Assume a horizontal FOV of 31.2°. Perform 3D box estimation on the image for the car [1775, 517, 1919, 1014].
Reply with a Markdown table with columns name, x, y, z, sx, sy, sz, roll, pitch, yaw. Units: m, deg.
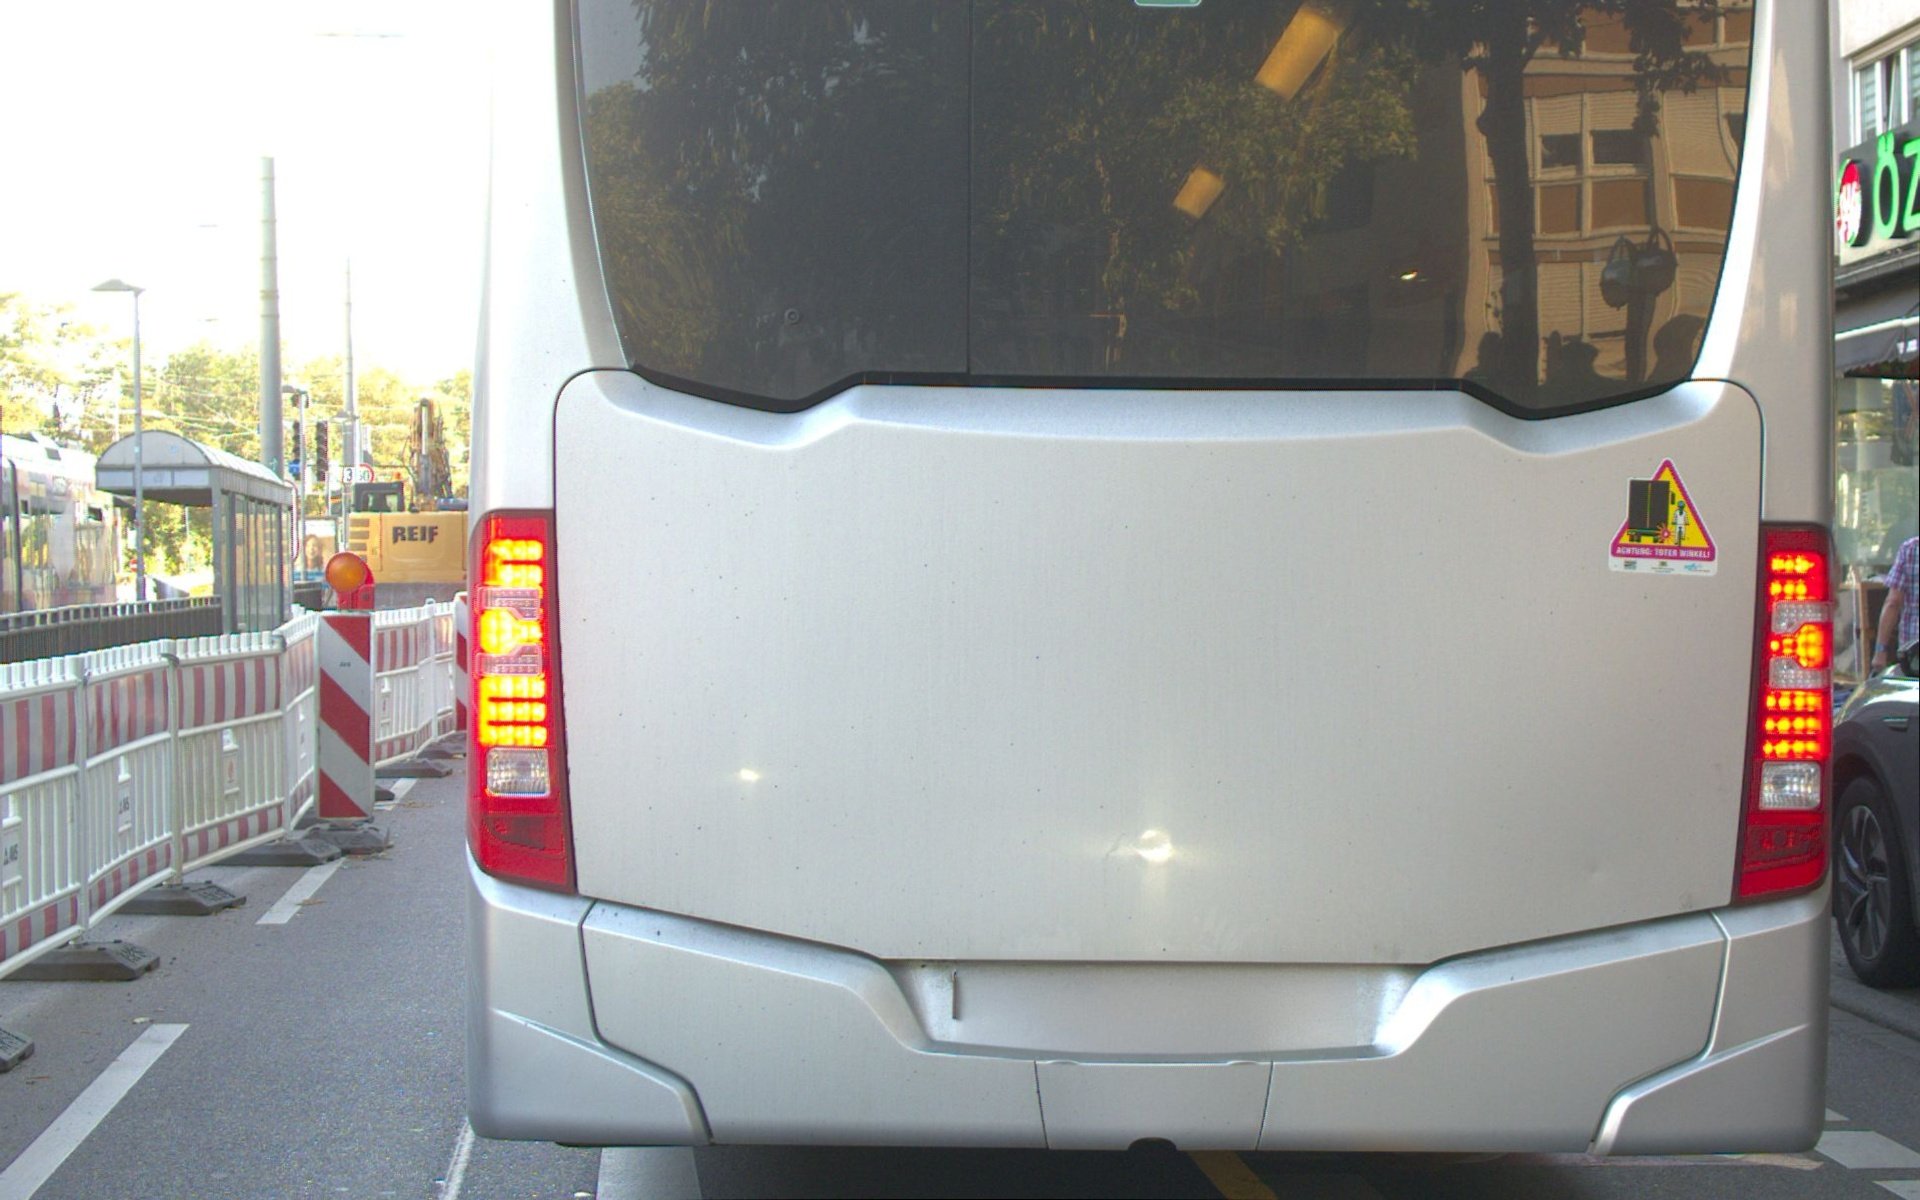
| name | x | y | z | sx | sy | sz | roll | pitch | yaw |
| --- | --- | --- | --- | --- | --- | --- | --- | --- | --- |
| car | 4.126 | 0.514 | 10.158 | 1.993 | 1.576 | 4.369 | -3 | 1 | -5 |

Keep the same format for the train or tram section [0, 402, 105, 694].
| name | x | y | z | sx | sy | sz | roll | pitch | yaw |
| --- | --- | --- | --- | --- | --- | --- | --- | --- | --- |
| train or tram section | -13.692 | -0.714 | 47.021 | 2.686 | 3.521 | 11.585 | 1 | 1 | -8 |

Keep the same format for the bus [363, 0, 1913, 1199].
| name | x | y | z | sx | sy | sz | roll | pitch | yaw |
| --- | --- | --- | --- | --- | --- | --- | --- | --- | --- |
| bus | 0.263 | -0.246 | 9.870 | 2.611 | 3.115 | 7.993 | 1 | 1 | -1 |

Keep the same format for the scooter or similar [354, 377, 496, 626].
| name | x | y | z | sx | sy | sz | roll | pitch | yaw |
| --- | --- | --- | --- | --- | --- | --- | --- | --- | --- |
| scooter or similar | -10.033 | -1.809 | 64.855 | 2.468 | 4.455 | 5.974 | -1 | 1 | -8 |

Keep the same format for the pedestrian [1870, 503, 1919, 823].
| name | x | y | z | sx | sy | sz | roll | pitch | yaw |
| --- | --- | --- | --- | --- | --- | --- | --- | --- | --- |
| pedestrian | 5.178 | 0.317 | 18.114 | 0.664 | 1.661 | 0.600 | -2 | 0 | 16 |

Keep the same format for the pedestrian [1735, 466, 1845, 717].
| name | x | y | z | sx | sy | sz | roll | pitch | yaw |
| --- | --- | --- | --- | --- | --- | --- | --- | --- | --- |
| pedestrian | 6.763 | -0.075 | 28.035 | 0.685 | 2.007 | 0.786 | -1 | 1 | -1 |

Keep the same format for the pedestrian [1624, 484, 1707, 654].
| name | x | y | z | sx | sy | sz | roll | pitch | yaw |
| --- | --- | --- | --- | --- | --- | --- | --- | --- | --- |
| pedestrian | 7.700 | -0.339 | 37.537 | 0.685 | 1.830 | 0.786 | -1 | 1 | -3 |

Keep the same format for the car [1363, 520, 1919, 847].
| name | x | y | z | sx | sy | sz | roll | pitch | yaw |
| --- | --- | --- | --- | --- | --- | --- | --- | --- | --- |
| car | 3.793 | 0.381 | 19.828 | 1.993 | 1.576 | 4.369 | -3 | 1 | -5 |
